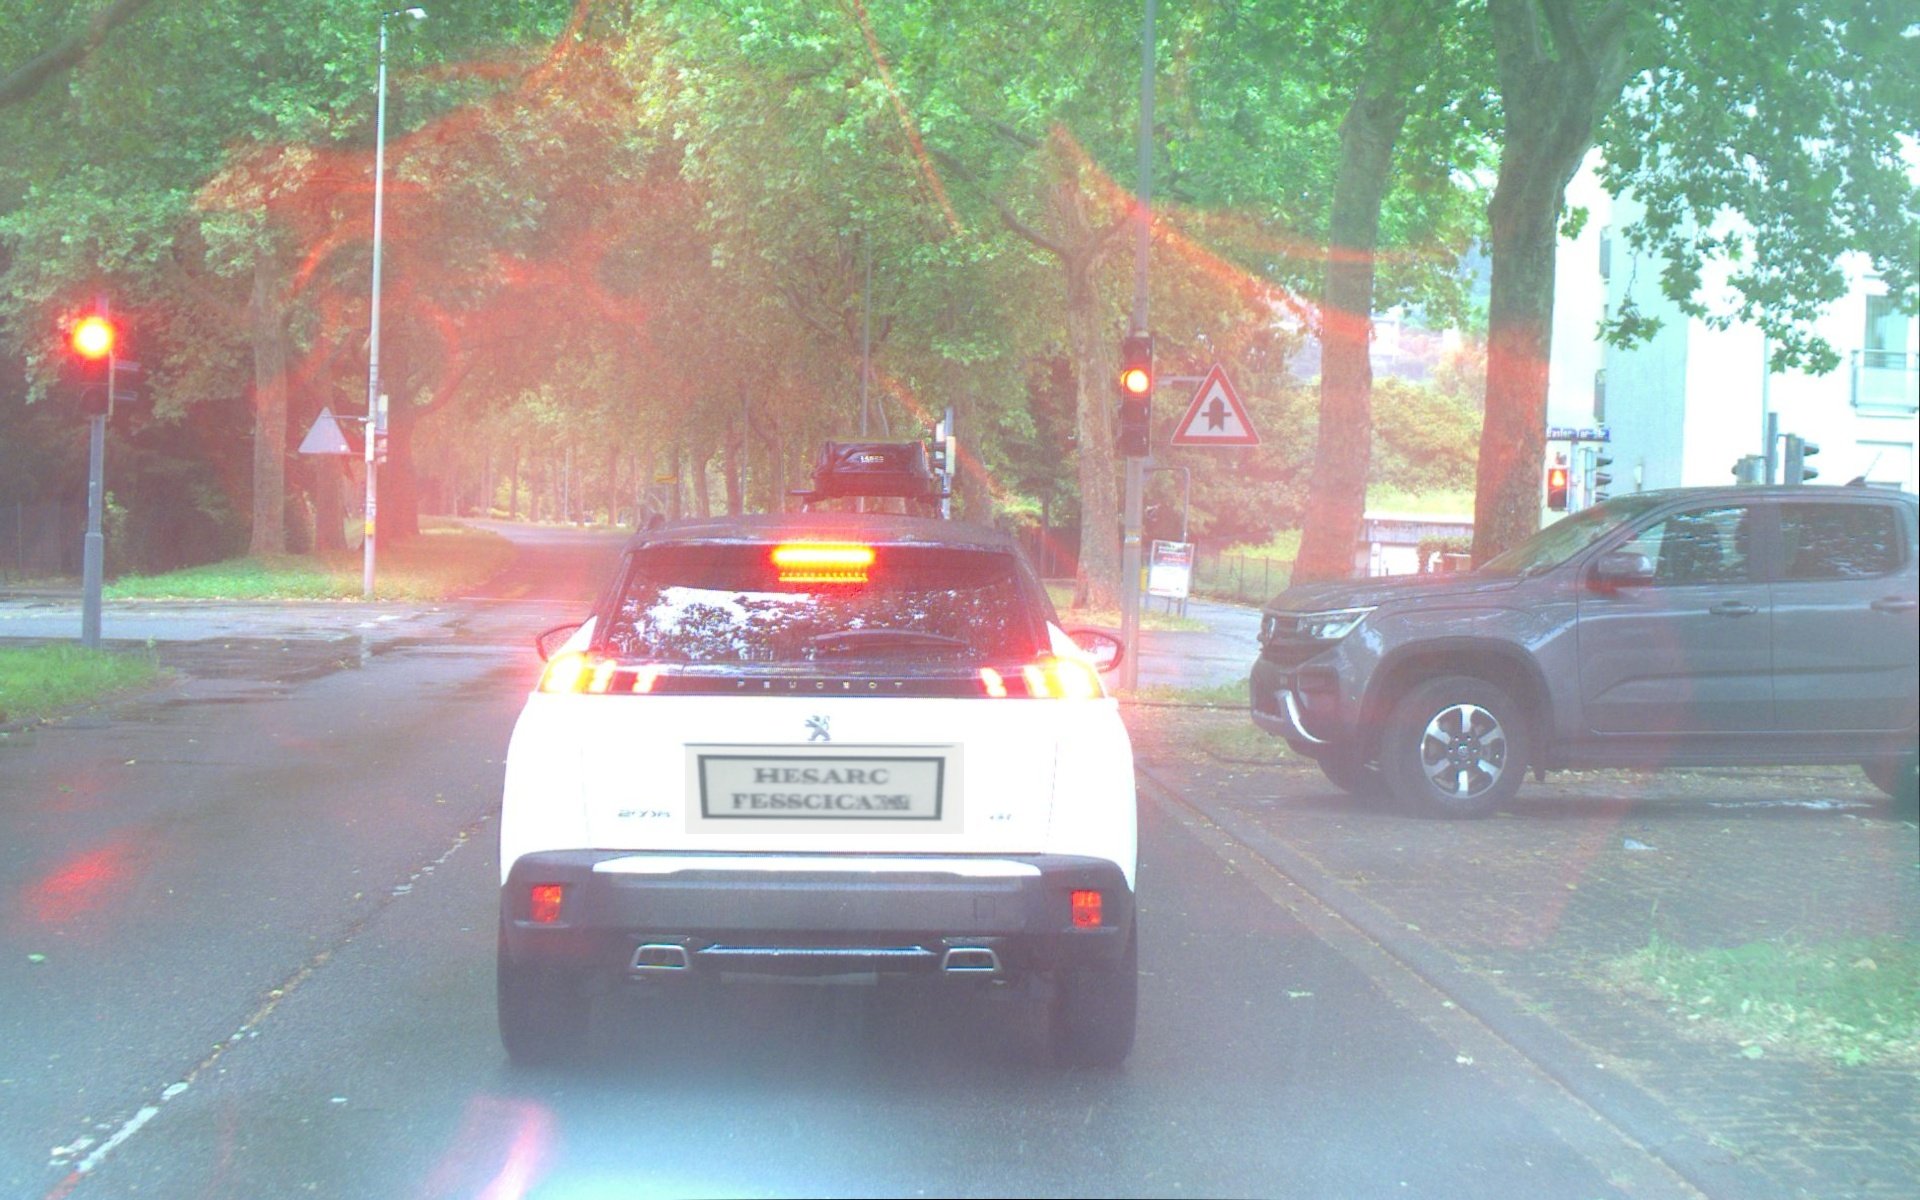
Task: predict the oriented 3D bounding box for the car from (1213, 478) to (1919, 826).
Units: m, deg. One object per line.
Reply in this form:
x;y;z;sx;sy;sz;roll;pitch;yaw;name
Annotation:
4.233;0.272;19.185;5.337;1.800;1.846;1;2;-7;car

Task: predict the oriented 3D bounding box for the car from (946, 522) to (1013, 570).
0.630;-1.810;115.015;1.905;1.504;3.932;1;2;-4;car

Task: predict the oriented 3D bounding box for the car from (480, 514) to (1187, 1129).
-0.358;0.518;10.815;1.780;1.531;4.058;1;2;-1;car

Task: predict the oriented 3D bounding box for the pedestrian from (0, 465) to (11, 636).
-10.175;-0.513;34.957;0.858;1.738;0.640;2;1;-3;pedestrian
